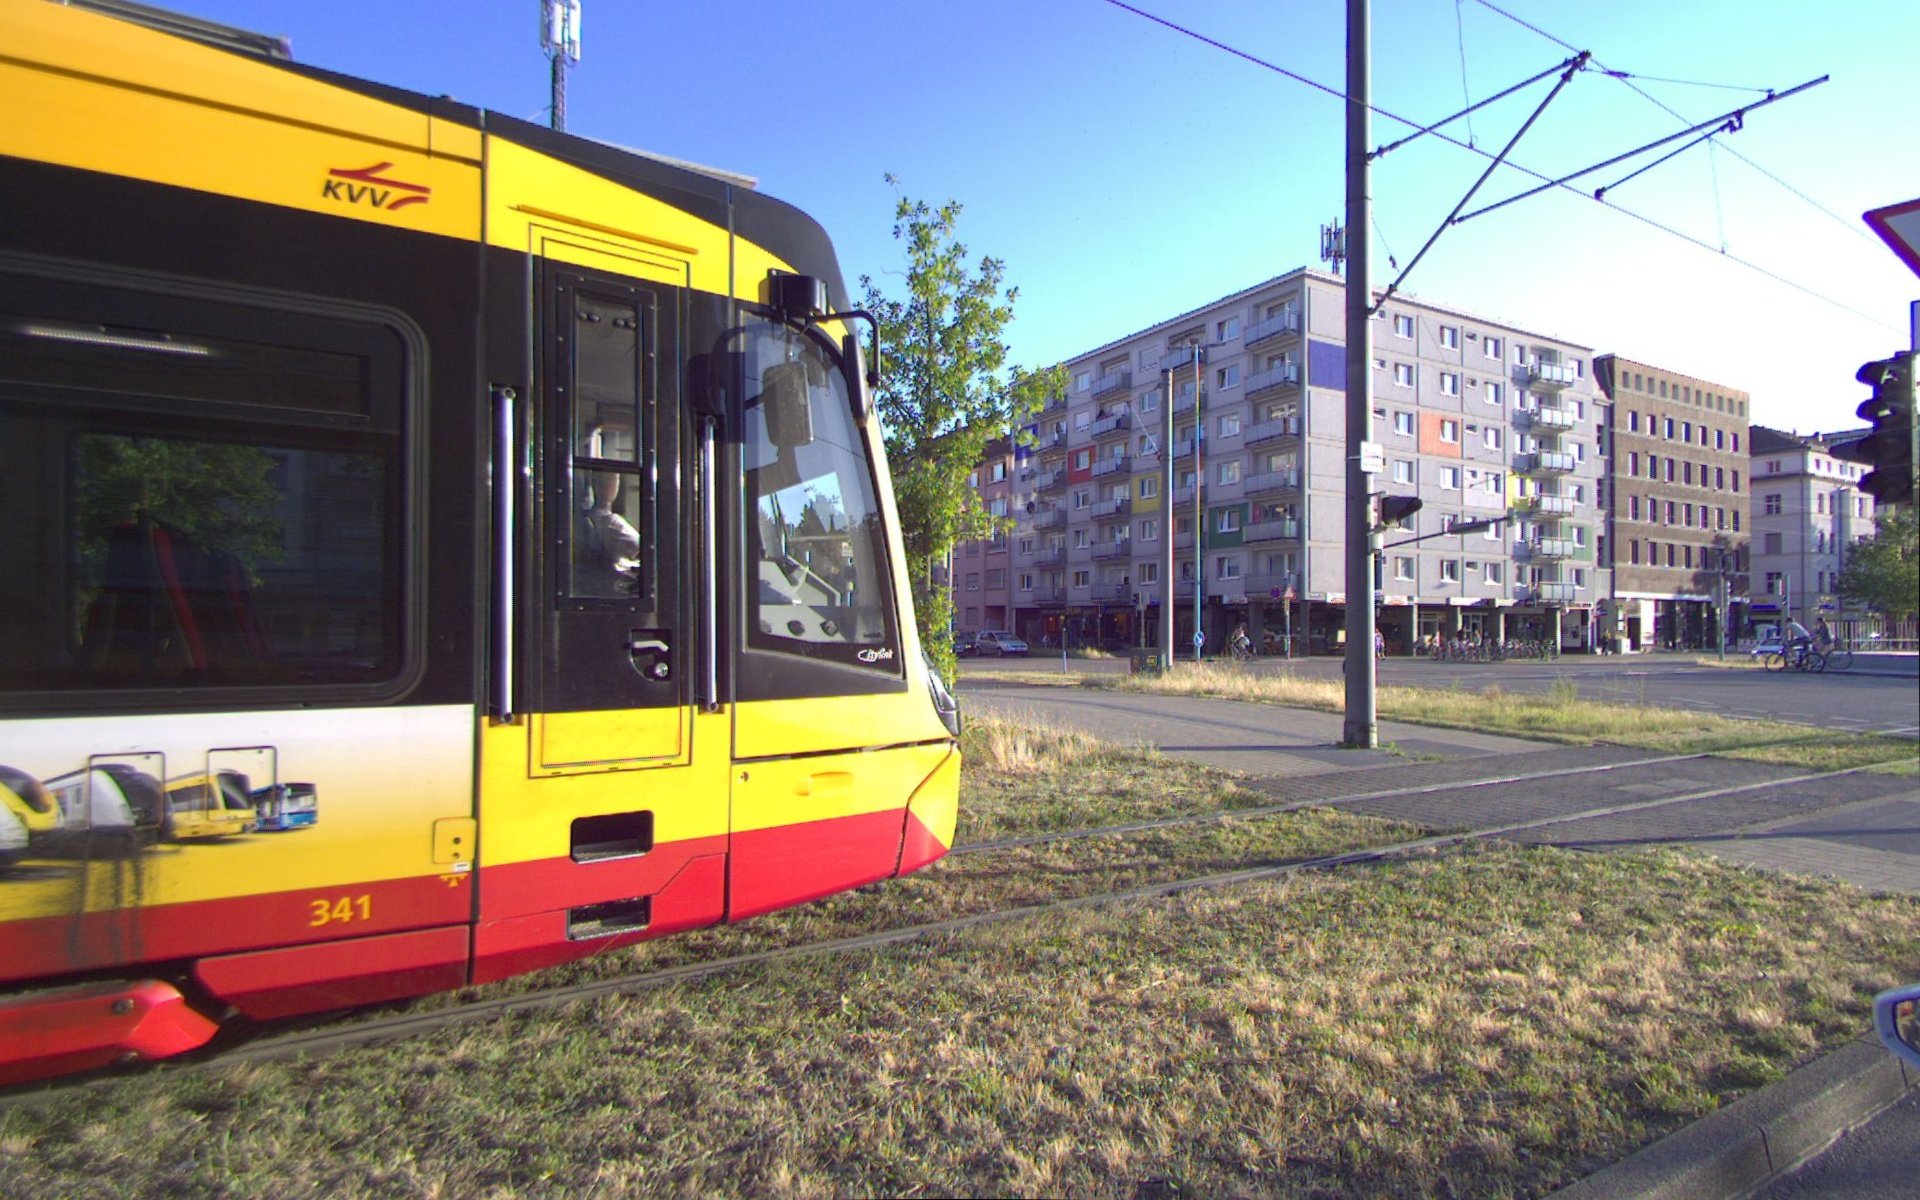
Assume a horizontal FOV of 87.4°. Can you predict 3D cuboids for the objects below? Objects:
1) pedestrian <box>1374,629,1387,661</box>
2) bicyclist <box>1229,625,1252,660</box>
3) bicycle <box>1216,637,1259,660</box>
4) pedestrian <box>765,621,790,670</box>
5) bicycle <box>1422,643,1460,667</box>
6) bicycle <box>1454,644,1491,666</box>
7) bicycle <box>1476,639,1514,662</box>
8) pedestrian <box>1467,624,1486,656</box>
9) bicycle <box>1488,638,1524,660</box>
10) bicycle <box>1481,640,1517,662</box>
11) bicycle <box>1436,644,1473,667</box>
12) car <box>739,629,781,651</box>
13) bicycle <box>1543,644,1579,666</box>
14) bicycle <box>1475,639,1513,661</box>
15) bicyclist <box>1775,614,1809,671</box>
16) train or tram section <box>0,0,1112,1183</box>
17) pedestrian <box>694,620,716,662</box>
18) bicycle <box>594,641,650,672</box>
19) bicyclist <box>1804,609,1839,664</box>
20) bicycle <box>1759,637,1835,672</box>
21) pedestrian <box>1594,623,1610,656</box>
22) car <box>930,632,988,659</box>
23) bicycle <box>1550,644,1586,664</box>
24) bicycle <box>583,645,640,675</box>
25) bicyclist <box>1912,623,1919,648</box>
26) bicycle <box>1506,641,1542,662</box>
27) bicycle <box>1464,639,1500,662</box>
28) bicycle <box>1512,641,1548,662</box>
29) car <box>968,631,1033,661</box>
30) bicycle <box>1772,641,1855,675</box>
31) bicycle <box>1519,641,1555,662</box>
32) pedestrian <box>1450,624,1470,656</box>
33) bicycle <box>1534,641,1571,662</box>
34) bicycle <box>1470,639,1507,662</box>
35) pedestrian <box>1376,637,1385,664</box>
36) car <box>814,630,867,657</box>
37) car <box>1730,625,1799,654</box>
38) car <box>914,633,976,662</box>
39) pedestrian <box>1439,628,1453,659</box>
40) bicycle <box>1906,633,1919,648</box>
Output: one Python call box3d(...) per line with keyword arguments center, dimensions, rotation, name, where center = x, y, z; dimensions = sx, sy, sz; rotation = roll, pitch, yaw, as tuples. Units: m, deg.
box3d(center=(21.554, 2.299, 51.467), dimensions=(0.563, 1.641, 0.602), rotation=(0, -1, 29), name="pedestrian")
box3d(center=(11.691, 1.748, 41.886), dimensions=(0.841, 1.445, 0.501), rotation=(0, -1, -2), name="bicyclist")
box3d(center=(11.564, 2.011, 41.874), dimensions=(1.636, 0.957, 0.509), rotation=(0, -1, -3), name="bicycle")
box3d(center=(-7.470, 1.849, 41.016), dimensions=(0.708, 1.972, 0.720), rotation=(-1, -2, 43), name="pedestrian")
box3d(center=(25.818, 2.956, 53.951), dimensions=(0.631, 1.224, 1.786), rotation=(1, -2, -30), name="bicycle")
box3d(center=(27.630, 2.945, 54.142), dimensions=(0.592, 1.154, 1.749), rotation=(1, -2, -29), name="bicycle")
box3d(center=(29.261, 2.739, 54.919), dimensions=(0.644, 1.206, 1.780), rotation=(1, -2, -30), name="bicycle")
box3d(center=(30.599, 2.371, 59.475), dimensions=(0.728, 1.866, 0.780), rotation=(1, -2, -38), name="pedestrian")
box3d(center=(30.708, 2.749, 56.540), dimensions=(0.598, 1.151, 1.763), rotation=(1, -2, -29), name="bicycle")
box3d(center=(30.152, 2.843, 56.231), dimensions=(0.598, 1.174, 1.768), rotation=(1, -2, -29), name="bicycle")
box3d(center=(26.793, 3.009, 54.438), dimensions=(0.601, 1.157, 1.768), rotation=(1, -2, -29), name="bicycle")
box3d(center=(-15.014, 3.006, 75.269), dimensions=(1.975, 1.551, 3.971), rotation=(1, -2, -28), name="car")
box3d(center=(34.557, 3.145, 57.764), dimensions=(0.739, 1.185, 1.684), rotation=(1, -1, -28), name="bicycle")
box3d(center=(29.667, 2.792, 55.792), dimensions=(0.632, 1.176, 1.823), rotation=(1, -2, -29), name="bicycle")
box3d(center=(27.729, 1.409, 33.488), dimensions=(0.641, 1.842, 0.785), rotation=(1, -2, -42), name="bicyclist")
box3d(center=(-5.633, -0.400, 2.461), dimensions=(13.066, 3.788, 2.894), rotation=(1, -1, -31), name="train or tram section")
box3d(center=(-11.563, 1.858, 45.510), dimensions=(0.879, 1.855, 0.885), rotation=(1, -1, -20), name="pedestrian")
box3d(center=(-12.234, 2.019, 36.368), dimensions=(1.885, 1.089, 0.465), rotation=(1, -1, -31), name="bicycle")
box3d(center=(29.586, 1.248, 34.501), dimensions=(0.867, 1.842, 0.535), rotation=(-1, -2, 44), name="bicyclist")
box3d(center=(27.808, 1.799, 33.408), dimensions=(0.628, 1.089, 1.883), rotation=(1, -2, -43), name="bicycle")
box3d(center=(42.784, 2.609, 66.950), dimensions=(0.783, 2.207, 0.599), rotation=(1, -1, -30), name="pedestrian")
box3d(center=(-0.099, 2.685, 59.534), dimensions=(1.974, 1.505, 3.974), rotation=(1, -2, -26), name="car")
box3d(center=(35.206, 3.117, 58.136), dimensions=(0.688, 1.159, 1.684), rotation=(1, -1, -27), name="bicycle")
box3d(center=(-13.057, 2.242, 37.675), dimensions=(1.972, 1.089, 0.465), rotation=(1, -1, -31), name="bicycle")
box3d(center=(77.820, 2.858, 81.354), dimensions=(0.912, 2.040, 0.794), rotation=(1, -1, -28), name="bicyclist")
box3d(center=(31.546, 2.856, 56.243), dimensions=(0.545, 1.132, 1.747), rotation=(1, -2, -29), name="bicycle")
box3d(center=(28.202, 2.702, 54.293), dimensions=(0.534, 1.183, 1.758), rotation=(1, -1, -29), name="bicycle")
box3d(center=(32.052, 2.892, 56.524), dimensions=(0.561, 1.134, 1.753), rotation=(1, -2, -29), name="bicycle")
box3d(center=(2.174, 2.512, 55.452), dimensions=(1.974, 1.505, 3.974), rotation=(1, -1, -26), name="car")
box3d(center=(29.415, 1.984, 34.653), dimensions=(2.141, 1.098, 0.535), rotation=(-1, -2, 44), name="bicycle")
box3d(center=(32.612, 2.912, 56.813), dimensions=(0.626, 1.139, 1.720), rotation=(2, -2, -28), name="bicycle")
box3d(center=(30.029, 2.392, 60.348), dimensions=(0.715, 1.837, 0.819), rotation=(1, 0, -40), name="pedestrian")
box3d(center=(33.892, 2.939, 57.440), dimensions=(0.739, 1.194, 1.684), rotation=(1, -1, -28), name="bicycle")
box3d(center=(28.716, 2.753, 54.590), dimensions=(0.561, 1.197, 1.761), rotation=(1, -2, -29), name="bicycle")
box3d(center=(21.812, 2.622, 52.050), dimensions=(0.376, 1.401, 0.394), rotation=(0, -1, 32), name="pedestrian")
box3d(center=(-7.331, 2.608, 61.443), dimensions=(1.975, 1.551, 3.971), rotation=(1, -1, -28), name="car")
box3d(center=(46.006, 2.271, 57.433), dimensions=(3.950, 1.639, 1.683), rotation=(1, -3, -28), name="car")
box3d(center=(-0.899, 2.634, 55.868), dimensions=(1.974, 1.505, 3.974), rotation=(1, -2, -26), name="car")
box3d(center=(26.902, 2.391, 55.590), dimensions=(0.573, 1.706, 0.543), rotation=(-1, -2, 43), name="pedestrian")
box3d(center=(77.599, 3.299, 81.250), dimensions=(2.382, 1.217, 0.809), rotation=(1, -2, -28), name="bicycle")
